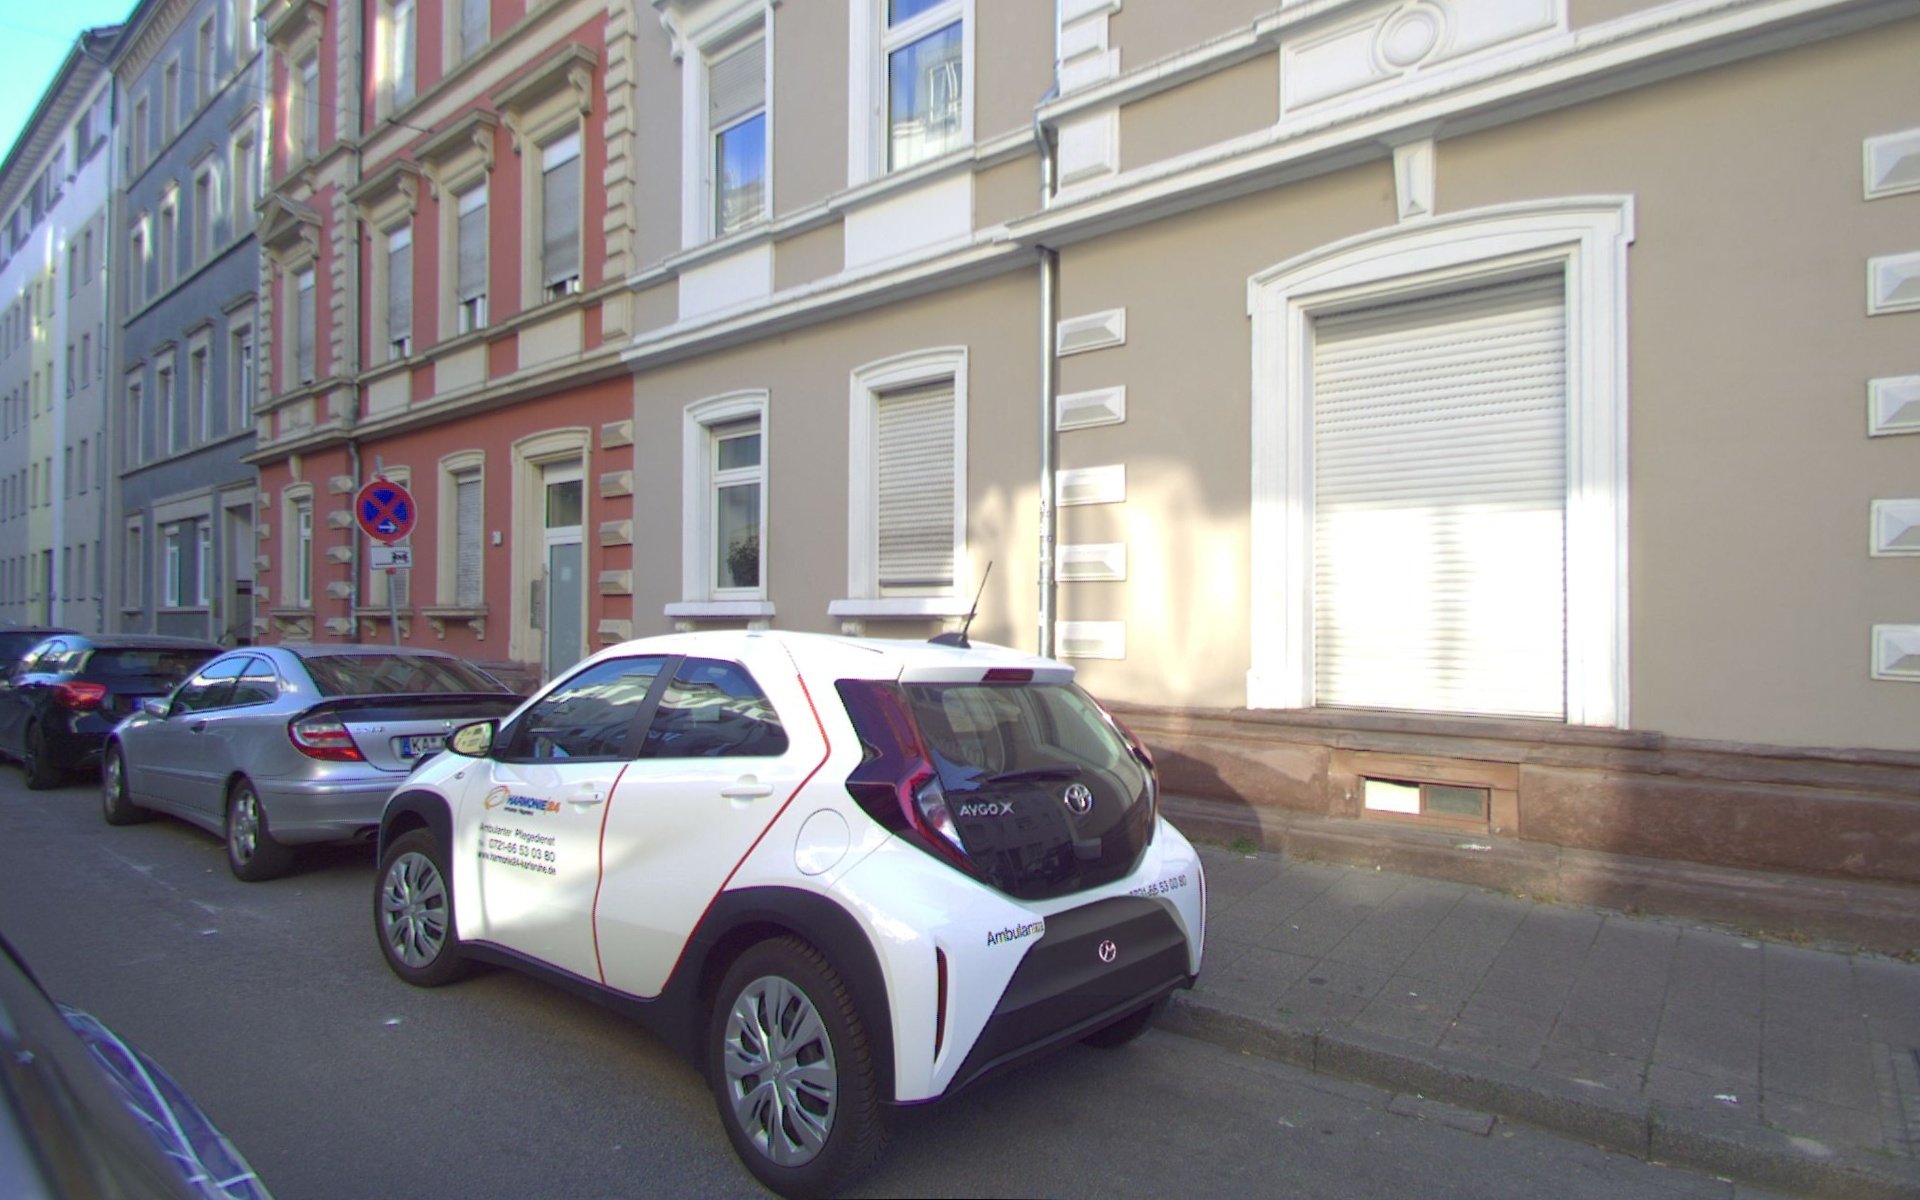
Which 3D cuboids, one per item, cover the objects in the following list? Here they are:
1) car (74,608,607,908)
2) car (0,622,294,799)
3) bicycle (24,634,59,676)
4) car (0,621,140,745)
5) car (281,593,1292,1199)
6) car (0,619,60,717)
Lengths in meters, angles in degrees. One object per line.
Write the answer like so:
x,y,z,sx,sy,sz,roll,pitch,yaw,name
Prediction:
-4.672,0.925,7.415,4.261,1.572,1.902,-2,-4,38,car
-8.958,1.036,10.690,4.261,1.495,1.902,-2,-4,38,car
-25.156,1.497,27.707,1.750,1.082,0.446,-1,-1,39,bicycle
-13.570,1.118,14.480,4.234,1.572,1.883,-2,-4,38,car
-1.036,0.845,4.284,4.263,1.519,1.901,-2,-4,40,car
-17.342,1.129,17.473,4.261,1.572,1.902,-2,-4,38,car
